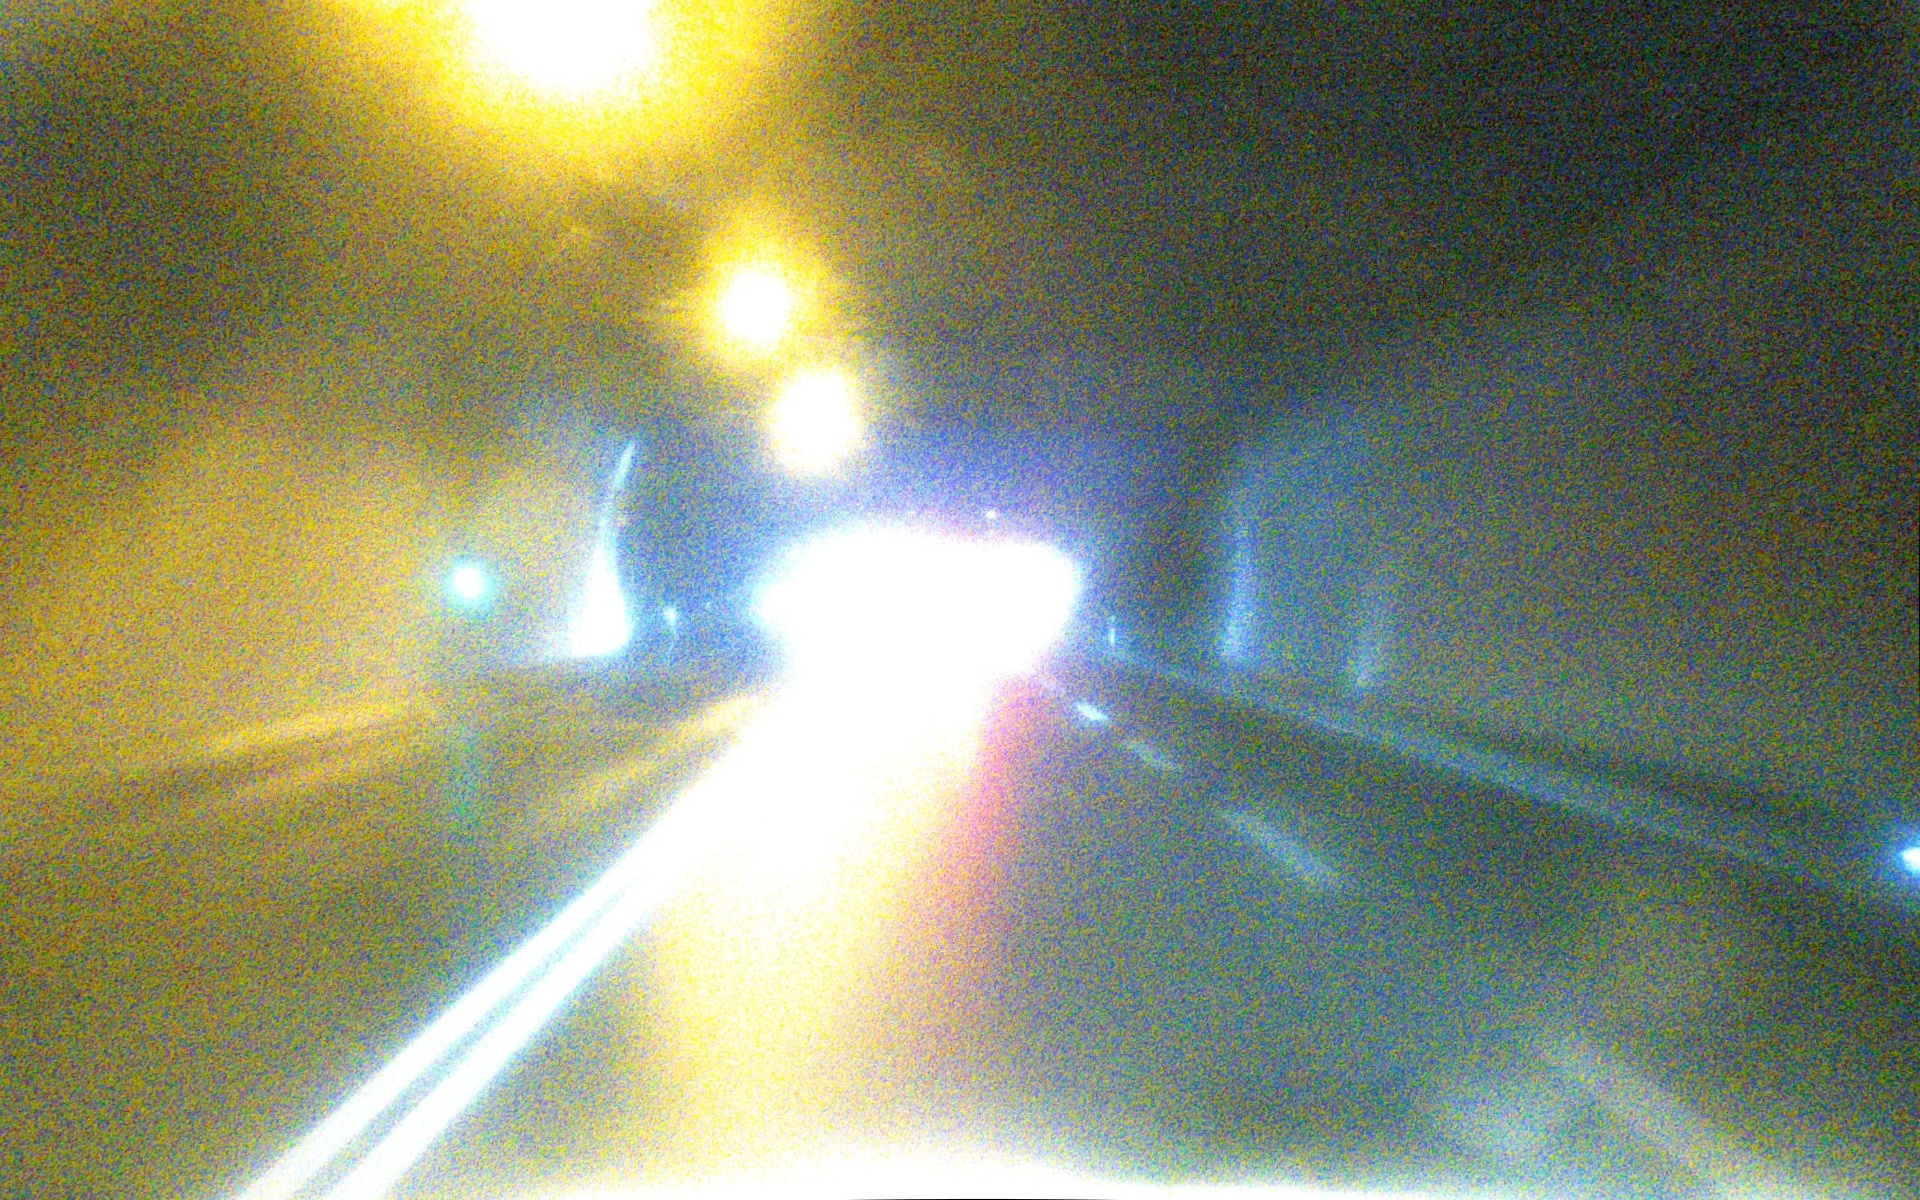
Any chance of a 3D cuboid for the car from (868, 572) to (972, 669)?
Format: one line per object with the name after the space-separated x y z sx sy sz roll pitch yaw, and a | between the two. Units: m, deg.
-0.777 0.359 30.325 1.772 1.650 3.998 0 0 -3 | car
